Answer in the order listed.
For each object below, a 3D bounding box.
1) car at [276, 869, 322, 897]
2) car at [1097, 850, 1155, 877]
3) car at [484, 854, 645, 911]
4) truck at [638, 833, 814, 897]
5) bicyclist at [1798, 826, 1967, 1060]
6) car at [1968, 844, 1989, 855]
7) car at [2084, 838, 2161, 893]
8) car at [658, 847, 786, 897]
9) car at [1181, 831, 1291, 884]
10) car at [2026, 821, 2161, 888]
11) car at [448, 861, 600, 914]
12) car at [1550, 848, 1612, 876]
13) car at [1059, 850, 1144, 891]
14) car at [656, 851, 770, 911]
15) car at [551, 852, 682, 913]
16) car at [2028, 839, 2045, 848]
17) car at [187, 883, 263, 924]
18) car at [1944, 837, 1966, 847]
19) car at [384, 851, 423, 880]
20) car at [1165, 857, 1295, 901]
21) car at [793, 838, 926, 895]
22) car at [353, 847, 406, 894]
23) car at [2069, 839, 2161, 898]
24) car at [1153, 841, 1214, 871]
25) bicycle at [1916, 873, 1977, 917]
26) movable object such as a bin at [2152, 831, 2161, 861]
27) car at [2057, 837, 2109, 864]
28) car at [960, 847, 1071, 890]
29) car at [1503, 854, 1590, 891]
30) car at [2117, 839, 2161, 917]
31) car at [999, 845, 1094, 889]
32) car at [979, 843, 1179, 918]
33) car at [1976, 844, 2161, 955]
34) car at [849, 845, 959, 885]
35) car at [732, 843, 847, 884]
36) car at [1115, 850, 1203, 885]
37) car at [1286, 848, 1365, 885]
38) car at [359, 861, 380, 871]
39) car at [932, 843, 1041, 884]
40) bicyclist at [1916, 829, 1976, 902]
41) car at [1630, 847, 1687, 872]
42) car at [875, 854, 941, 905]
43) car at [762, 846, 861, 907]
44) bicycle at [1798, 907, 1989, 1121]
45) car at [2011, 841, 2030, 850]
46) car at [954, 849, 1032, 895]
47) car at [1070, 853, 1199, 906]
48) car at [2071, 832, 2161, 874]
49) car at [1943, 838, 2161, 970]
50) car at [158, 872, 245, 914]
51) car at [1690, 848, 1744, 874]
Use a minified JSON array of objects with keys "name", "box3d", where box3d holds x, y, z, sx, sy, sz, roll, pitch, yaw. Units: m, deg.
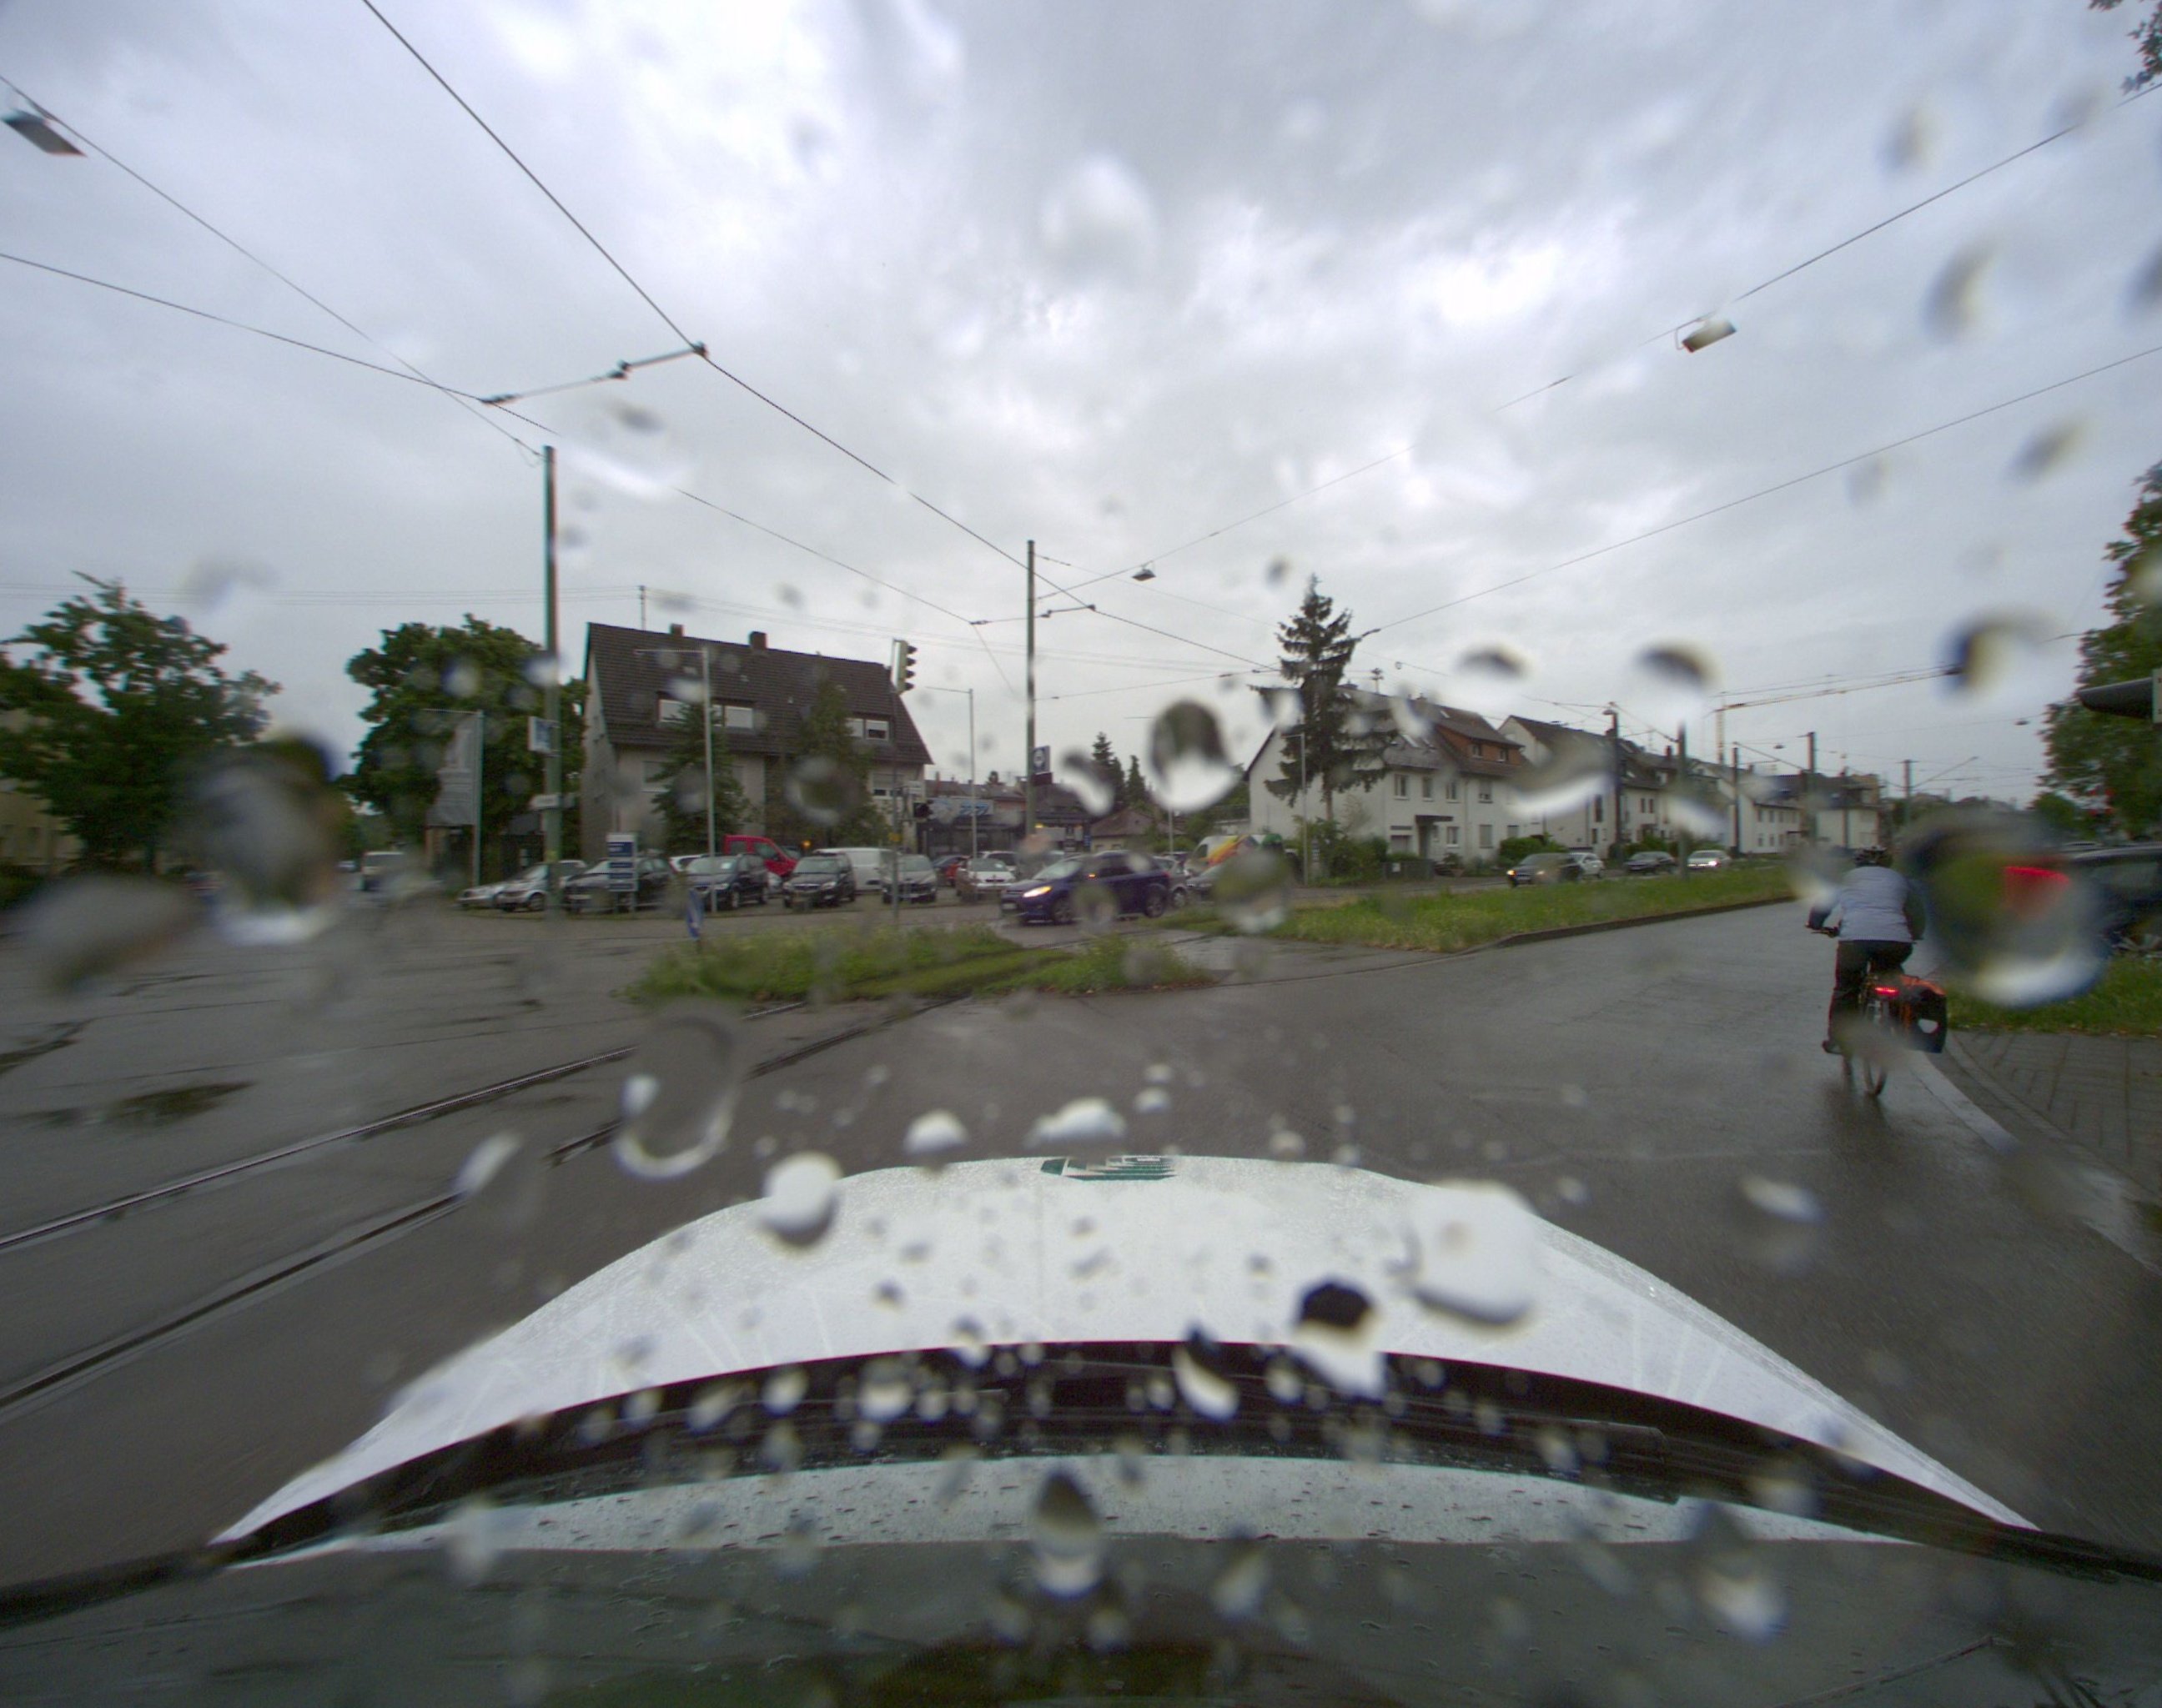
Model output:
[{"name":"car","box3d":[-59.234,2.163,61.758,2.009,2.014,3.954,2,-2,-38]},{"name":"car","box3d":[2.899,0.585,51.513,1.771,1.580,4.475,-2,-1,31]},{"name":"car","box3d":[-16.291,0.850,25.846,1.784,1.578,3.897,-1,0,33]},{"name":"truck","box3d":[-13.710,0.391,31.898,6.100,2.272,1.988,-1,-1,-18]},{"name":"bicyclist","box3d":[5.588,0.561,5.736,0.743,1.485,0.852,-2,0,40]},{"name":"car","box3d":[151.749,-0.799,137.753,4.017,1.705,1.978,2,-2,-36]},{"name":"car","box3d":[31.239,0.279,22.804,3.554,1.480,1.647,-3,-1,26]},{"name":"car","box3d":[-12.752,0.619,29.200,3.977,1.598,1.988,-1,-1,-18]},{"name":"car","box3d":[7.420,0.205,39.469,2.162,2.406,5.090,2,-2,-38]},{"name":"car","box3d":[26.273,0.001,19.706,3.957,1.553,1.969,-2,-2,16]},{"name":"car","box3d":[-18.994,1.097,27.926,1.784,1.578,3.897,-1,0,33]},{"name":"car","box3d":[27.342,0.478,44.510,3.962,1.424,1.588,2,-2,-37]},{"name":"car","box3d":[0.802,0.662,33.309,1.729,1.573,3.579,2,-2,-34]},{"name":"car","box3d":[-10.724,0.733,24.041,1.799,1.578,3.865,-1,0,-5]},{"name":"car","box3d":[-13.428,0.769,23.814,1.799,1.578,3.865,-1,0,-5]},{"name":"car","box3d":[194.635,-2.120,165.933,4.017,1.544,1.978,2,-2,-36]},{"name":"car","box3d":[-40.114,2.266,38.268,2.010,1.750,3.953,-1,-1,-40]},{"name":"car","box3d":[145.126,-1.929,135.246,4.017,1.544,1.978,2,-2,-36]},{"name":"car","box3d":[-48.913,0.875,58.861,2.009,2.014,3.954,2,-2,-38]},{"name":"car","box3d":[5.038,0.838,27.287,4.407,1.339,1.704,2,-2,-36]},{"name":"car","box3d":[-8.423,0.460,31.078,4.466,2.014,1.978,-1,-1,-36]},{"name":"car","box3d":[-40.540,0.962,47.144,2.171,2.573,4.085,2,-2,-40]},{"name":"car","box3d":[29.462,0.307,21.355,4.074,1.480,1.876,-3,-1,21]},{"name":"car","box3d":[5.963,0.122,46.934,1.841,1.580,4.427,-2,-1,31]},{"name":"bicycle","box3d":[19.246,0.896,18.102,1.996,0.912,0.814,0,-2,-40]},{"name":"movable object such as a bin","box3d":[63.025,-0.465,46.629,1.534,1.704,1.510,-2,-1,29]},{"name":"car","box3d":[63.344,-0.192,51.492,4.019,1.553,1.938,0,-3,-39]},{"name":"car","box3d":[-2.786,0.605,35.122,4.466,1.687,1.741,-1,-1,-36]},{"name":"car","box3d":[19.805,0.784,34.596,4.017,1.486,1.723,2,-2,-36]},{"name":"car","box3d":[22.386,0.387,15.111,3.478,1.506,1.762,-3,-2,17]},{"name":"car","box3d":[-1.385,0.486,31.410,1.816,1.578,3.829,-2,0,-36]},{"name":"car","box3d":[0.029,0.625,19.594,4.595,1.605,1.977,2,-2,-39]},{"name":"car","box3d":[16.022,0.592,11.292,4.494,1.476,1.814,-1,0,23]},{"name":"car","box3d":[-8.017,0.469,37.028,4.466,1.687,1.978,-1,-1,-36]},{"name":"car","box3d":[-12.971,0.388,36.321,4.466,1.687,1.978,-1,-1,-36]},{"name":"car","box3d":[3.260,0.574,34.783,1.729,1.396,3.801,2,-2,-34]},{"name":"car","box3d":[12.615,0.611,41.902,3.914,1.564,1.977,-5,3,-38]},{"name":"car","box3d":[-123.218,2.098,141.046,3.979,1.697,1.846,0,-2,36]},{"name":"car","box3d":[-4.247,0.417,36.875,4.466,1.687,1.978,-1,-1,-36]},{"name":"bicyclist","box3d":[19.199,0.262,18.082,0.918,1.558,0.824,1,-2,-40]},{"name":"car","box3d":[36.144,0.382,50.949,4.688,1.424,1.588,2,-2,-37]},{"name":"car","box3d":[-5.498,0.807,26.325,1.827,1.504,4.045,1,-1,-9]},{"name":"car","box3d":[-8.267,0.651,25.371,1.990,1.717,3.993,-1,0,-5]},{"name":"bicycle","box3d":[5.559,0.989,5.688,0.745,1.073,1.939,-2,0,40]},{"name":"car","box3d":[173.716,-1.614,150.504,4.017,1.544,1.978,2,-2,-36]},{"name":"car","box3d":[-3.187,0.656,28.909,1.834,1.504,4.030,1,-2,-20]},{"name":"car","box3d":[1.663,0.776,24.781,3.659,1.504,1.704,2,-2,-36]},{"name":"car","box3d":[40.751,-0.072,30.645,3.953,1.483,2.011,-2,1,21]},{"name":"car","box3d":[13.449,0.544,9.600,4.127,1.476,1.814,-1,0,22]},{"name":"car","box3d":[-37.323,1.607,34.665,2.010,1.618,3.953,-1,-1,-40]},{"name":"car","box3d":[37.954,0.436,48.576,3.837,1.424,1.588,2,-2,-37]}]
